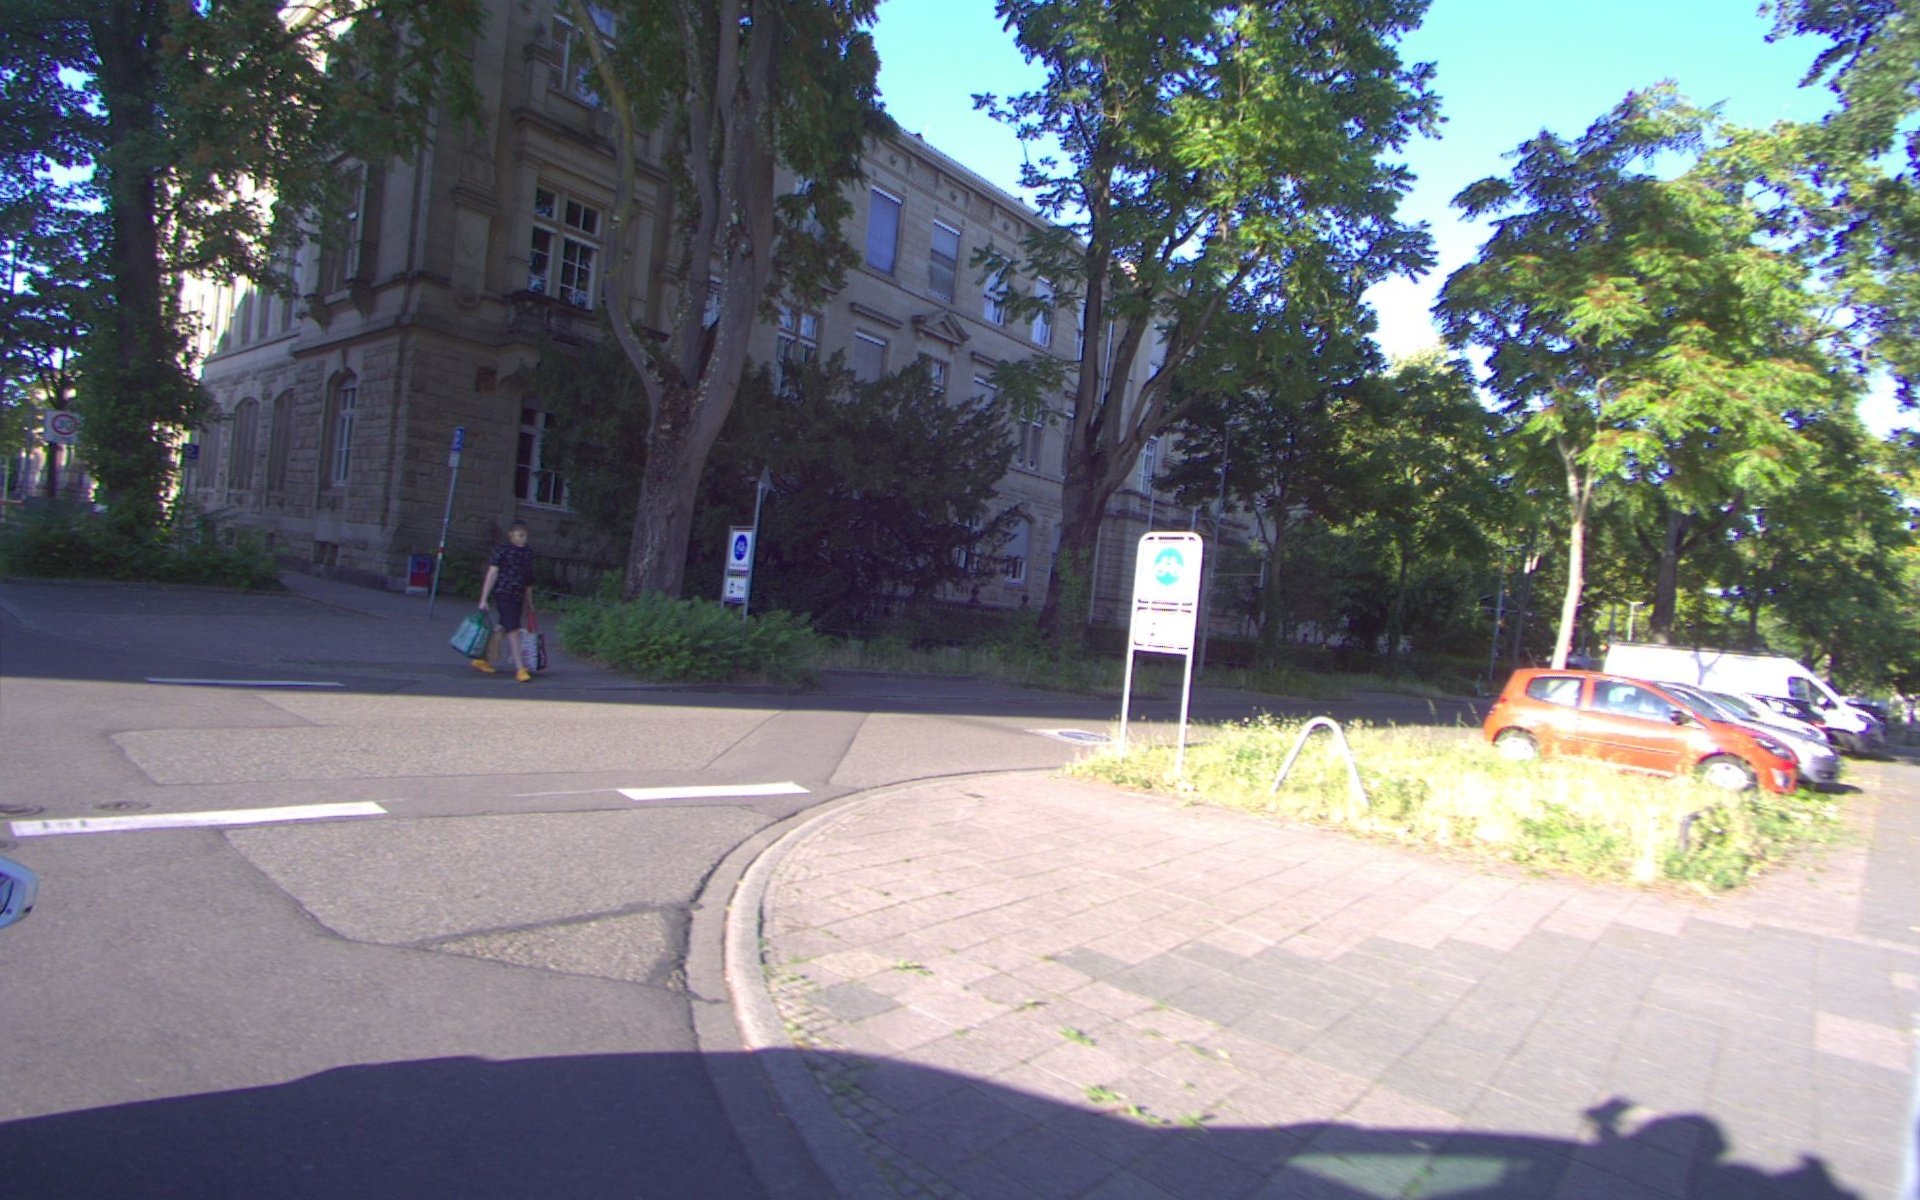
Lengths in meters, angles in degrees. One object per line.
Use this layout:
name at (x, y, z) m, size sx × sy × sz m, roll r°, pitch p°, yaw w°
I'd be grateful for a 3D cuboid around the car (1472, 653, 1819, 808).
car at (9.252, 1.676, 13.741) m, size 3.628 × 1.438 × 1.710 m, roll 6°, pitch 0°, yaw 41°

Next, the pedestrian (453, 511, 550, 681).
pedestrian at (-5.507, -0.041, 12.103) m, size 0.603 × 1.943 × 0.722 m, roll 6°, pitch 2°, yaw 19°

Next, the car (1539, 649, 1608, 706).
car at (32.064, 4.048, 52.534) m, size 1.928 × 2.631 × 4.140 m, roll 6°, pitch 0°, yaw 45°

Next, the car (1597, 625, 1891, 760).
car at (20.839, 2.362, 27.060) m, size 5.827 × 2.734 × 2.210 m, roll 6°, pitch 0°, yaw 41°

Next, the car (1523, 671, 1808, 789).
car at (12.770, 2.276, 18.358) m, size 4.002 × 1.438 × 1.710 m, roll 6°, pitch 0°, yaw 41°
